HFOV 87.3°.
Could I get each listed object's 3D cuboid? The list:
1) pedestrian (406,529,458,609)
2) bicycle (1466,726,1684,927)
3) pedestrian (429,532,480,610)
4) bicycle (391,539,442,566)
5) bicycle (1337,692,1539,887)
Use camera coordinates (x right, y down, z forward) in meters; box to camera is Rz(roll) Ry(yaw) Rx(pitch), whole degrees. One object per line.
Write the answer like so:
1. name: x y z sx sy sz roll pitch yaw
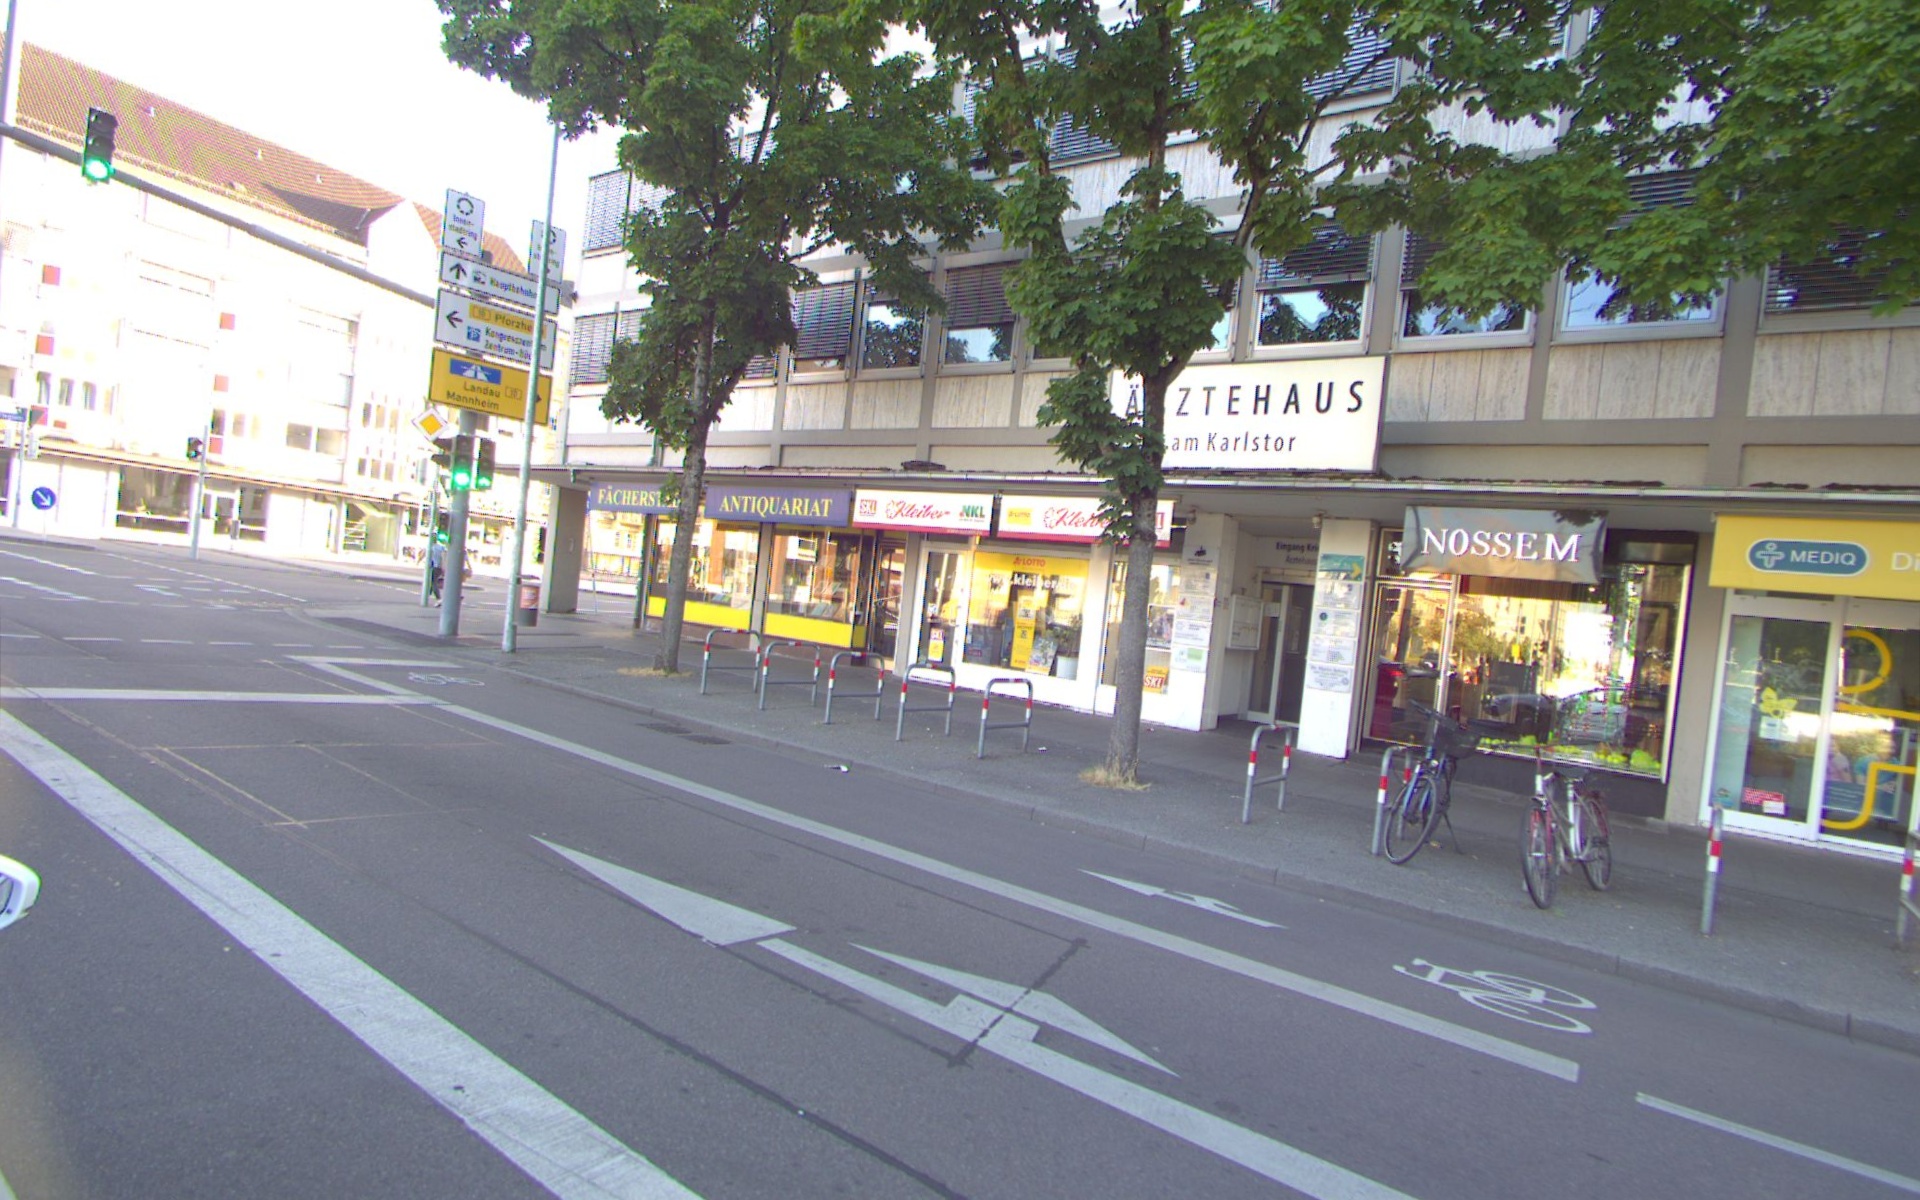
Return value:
1. pedestrian: -11.782 -0.687 22.439 0.661 1.688 0.683 7 1 39
2. bicycle: 4.368 1.508 7.073 1.989 1.124 0.660 7 1 -42
3. pedestrian: -11.707 -0.669 23.312 0.661 1.688 0.722 7 1 39
4. bicycle: -31.078 -2.718 57.562 0.809 1.281 2.408 7 0 30
5. bicycle: 3.756 1.410 7.818 1.898 1.251 0.660 6 1 -44
